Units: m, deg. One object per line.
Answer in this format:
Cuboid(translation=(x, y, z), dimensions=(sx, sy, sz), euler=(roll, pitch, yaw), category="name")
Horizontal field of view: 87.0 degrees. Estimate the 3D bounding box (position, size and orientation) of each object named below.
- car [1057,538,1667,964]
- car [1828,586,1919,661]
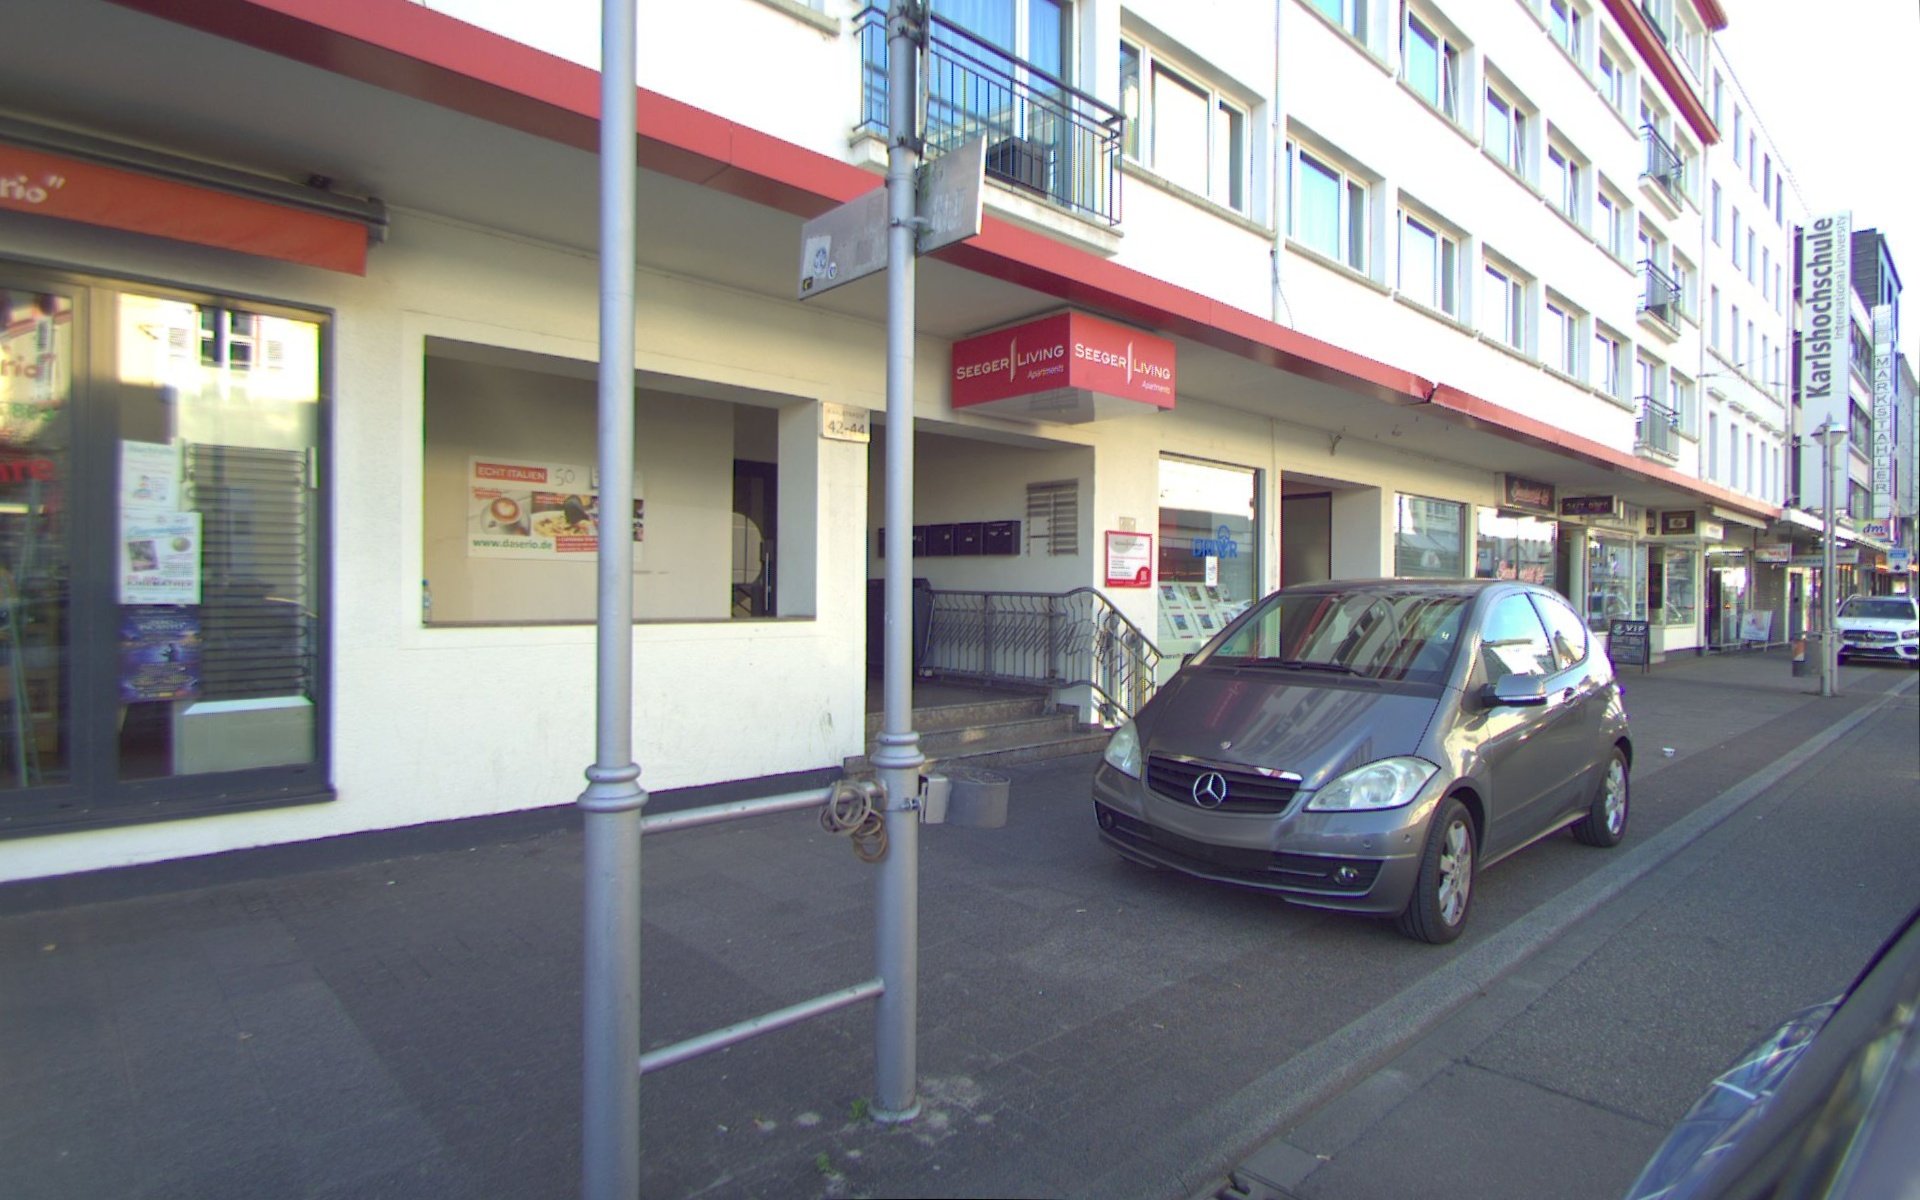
Cuboid(translation=(2.477, 0.557, 5.690), dimensions=(3.932, 1.565, 1.681), euler=(0, 0, -43), category="car")
Cuboid(translation=(22.388, 0.515, 24.353), dimensions=(1.994, 1.650, 3.935), euler=(1, 1, 45), category="car")
